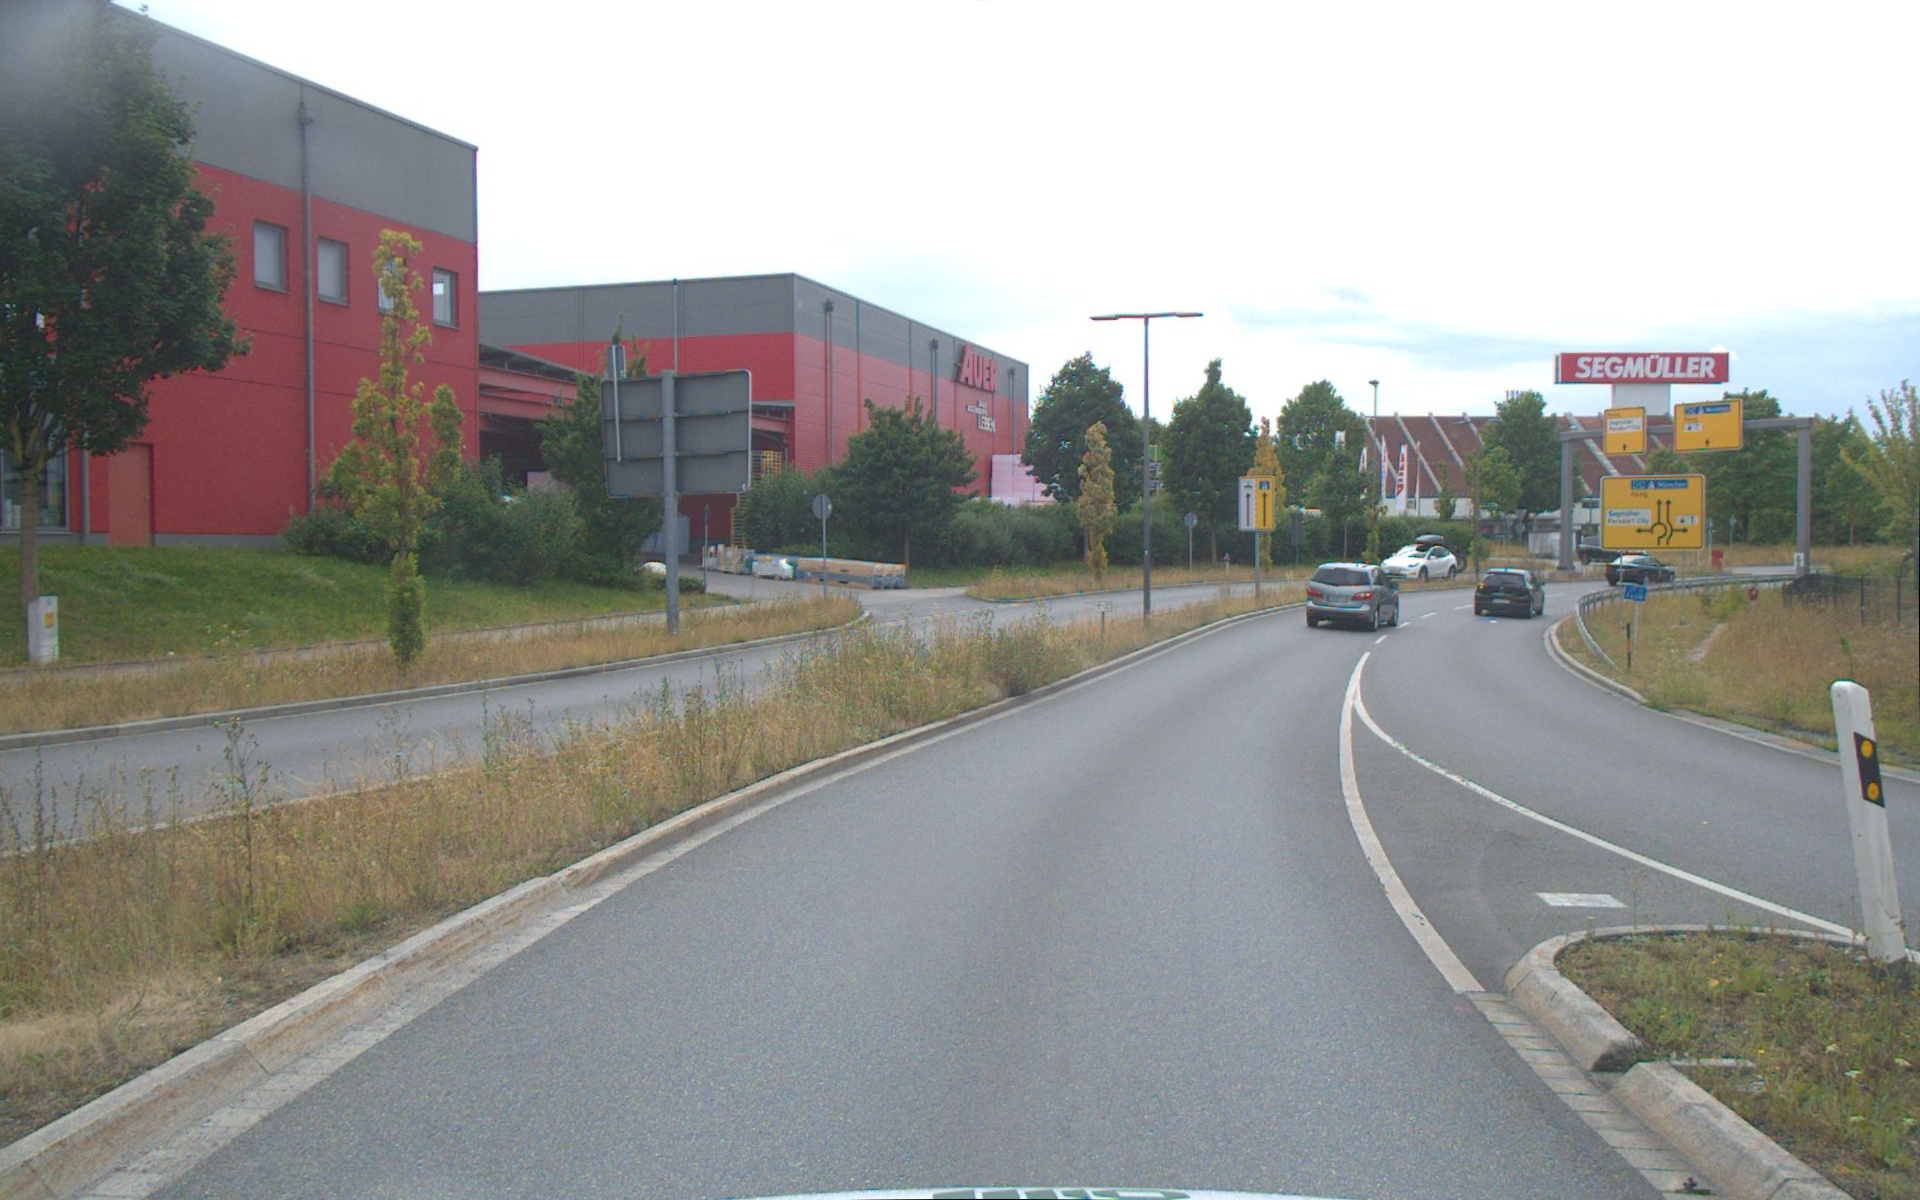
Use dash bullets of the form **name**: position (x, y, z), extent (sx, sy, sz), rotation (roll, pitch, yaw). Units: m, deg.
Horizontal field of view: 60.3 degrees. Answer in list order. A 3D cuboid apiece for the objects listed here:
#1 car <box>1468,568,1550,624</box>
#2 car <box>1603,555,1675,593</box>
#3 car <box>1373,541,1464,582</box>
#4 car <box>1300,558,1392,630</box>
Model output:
- **car**: position (16.977, -0.128, 51.028), extent (1.833, 1.633, 3.730), rotation (1, 1, 27)
- **car**: position (30.306, -1.151, 73.786), extent (1.877, 1.646, 3.980), rotation (1, 1, 39)
- **car**: position (20.551, -1.719, 74.090), extent (1.884, 1.654, 4.605), rotation (6, 5, 44)
- **car**: position (9.862, -0.179, 42.108), extent (1.731, 1.644, 3.922), rotation (4, 2, 20)
